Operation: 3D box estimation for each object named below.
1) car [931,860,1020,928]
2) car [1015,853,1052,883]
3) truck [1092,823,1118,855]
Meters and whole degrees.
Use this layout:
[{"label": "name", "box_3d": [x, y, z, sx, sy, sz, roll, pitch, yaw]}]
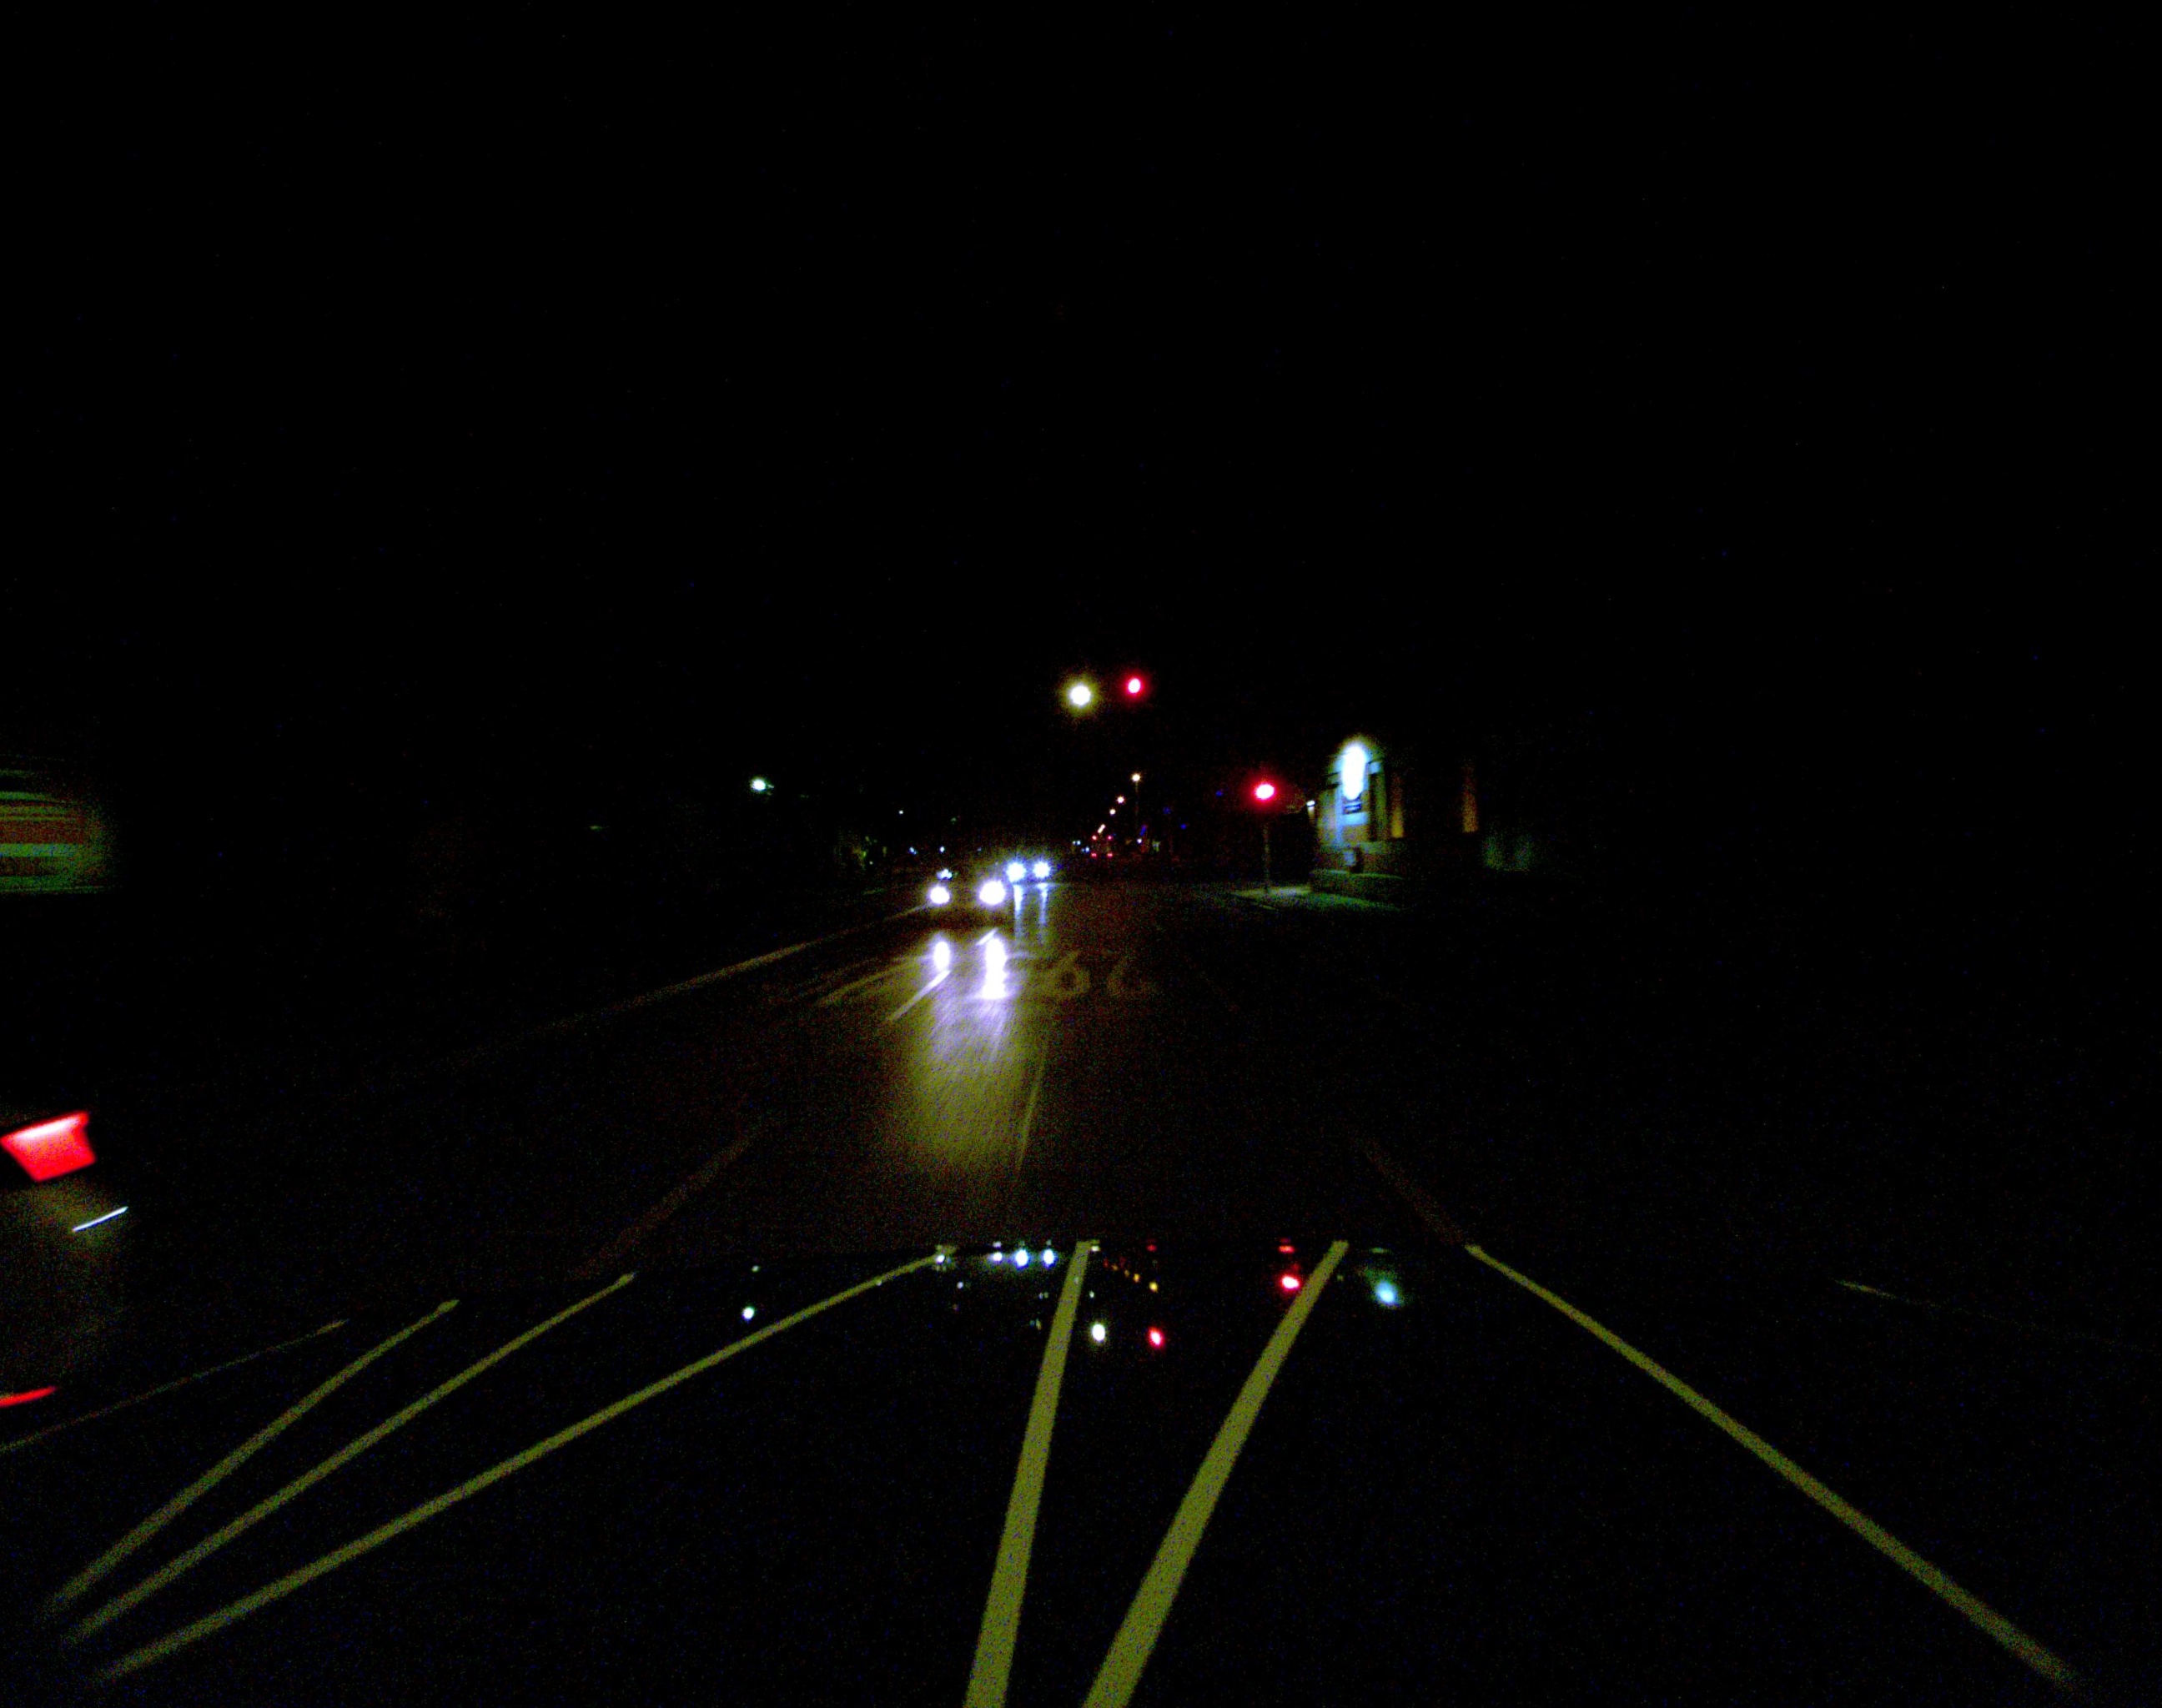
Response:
[{"label": "car", "box_3d": [-2.544, 0.929, 19.118, 1.634, 1.430, 3.839, -2, 1, 0]}, {"label": "car", "box_3d": [-2.581, 0.728, 42.136, 1.729, 1.455, 3.999, -3, 1, 0]}, {"label": "truck", "box_3d": [3.723, -2.339, 120.400, 3.516, 4.558, 9.039, -3, 1, 0]}]
